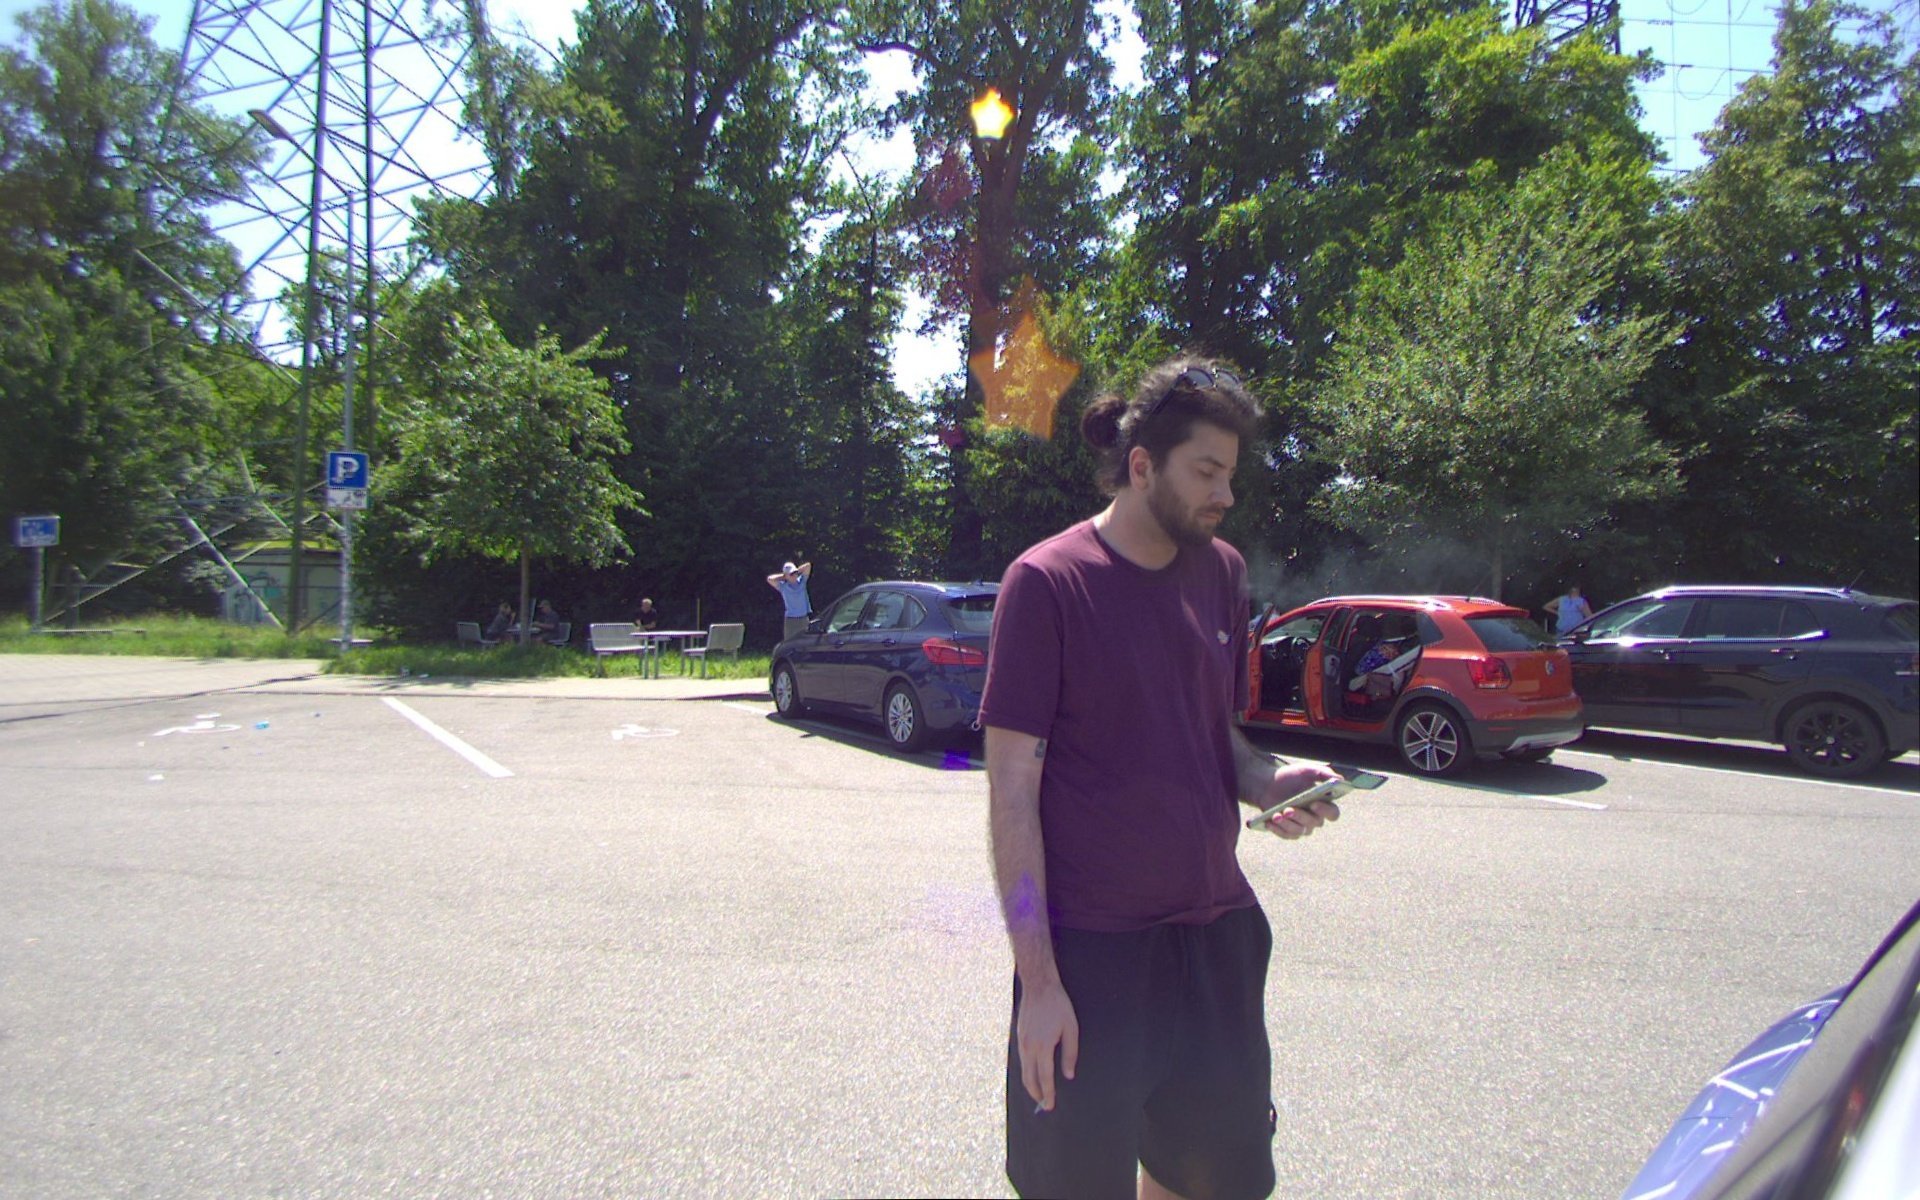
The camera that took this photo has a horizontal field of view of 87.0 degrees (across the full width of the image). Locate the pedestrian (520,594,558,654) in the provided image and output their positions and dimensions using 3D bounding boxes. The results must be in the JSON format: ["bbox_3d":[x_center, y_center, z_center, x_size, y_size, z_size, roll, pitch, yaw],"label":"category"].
[{"bbox_3d":[-9.760,0.546,23.477,0.687,1.352,0.563,0,0,-40],"label":"pedestrian"}]

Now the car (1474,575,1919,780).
[{"bbox_3d":[7.220,0.595,9.707,1.707,1.607,3.732,1,0,-39],"label":"car"}]

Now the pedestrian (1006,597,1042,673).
[{"bbox_3d":[1.069,0.585,17.080,0.576,1.251,0.697,0,-1,1],"label":"pedestrian"}]

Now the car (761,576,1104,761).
[{"bbox_3d":[-0.482,0.557,10.665,1.776,1.562,3.940,1,0,-34],"label":"car"}]

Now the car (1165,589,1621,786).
[{"bbox_3d":[3.855,0.645,9.592,1.559,1.467,3.737,1,0,-33],"label":"car"}]

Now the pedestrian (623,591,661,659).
[{"bbox_3d":[-6.688,0.522,21.315,0.553,1.408,0.700,0,0,2],"label":"pedestrian"}]

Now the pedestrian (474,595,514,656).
[{"bbox_3d":[-10.517,0.556,22.838,0.687,1.352,0.563,0,0,-40],"label":"pedestrian"}]

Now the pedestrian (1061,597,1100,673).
[{"bbox_3d":[2.016,0.581,17.014,0.576,1.251,0.697,0,-1,1],"label":"pedestrian"}]

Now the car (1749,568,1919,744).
[{"bbox_3d":[10.756,0.551,9.738,1.961,1.734,4.621,0,1,-31],"label":"car"}]

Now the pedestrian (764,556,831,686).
[{"bbox_3d":[-2.280,0.284,14.184,0.662,1.754,0.834,1,0,-30],"label":"pedestrian"}]

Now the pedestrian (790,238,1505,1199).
[{"bbox_3d":[0.277,0.512,1.738,0.844,1.857,0.865,0,0,-33],"label":"pedestrian"}]

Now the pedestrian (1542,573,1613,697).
[{"bbox_3d":[9.344,0.519,15.338,0.752,1.854,0.520,0,0,6],"label":"pedestrian"}]
